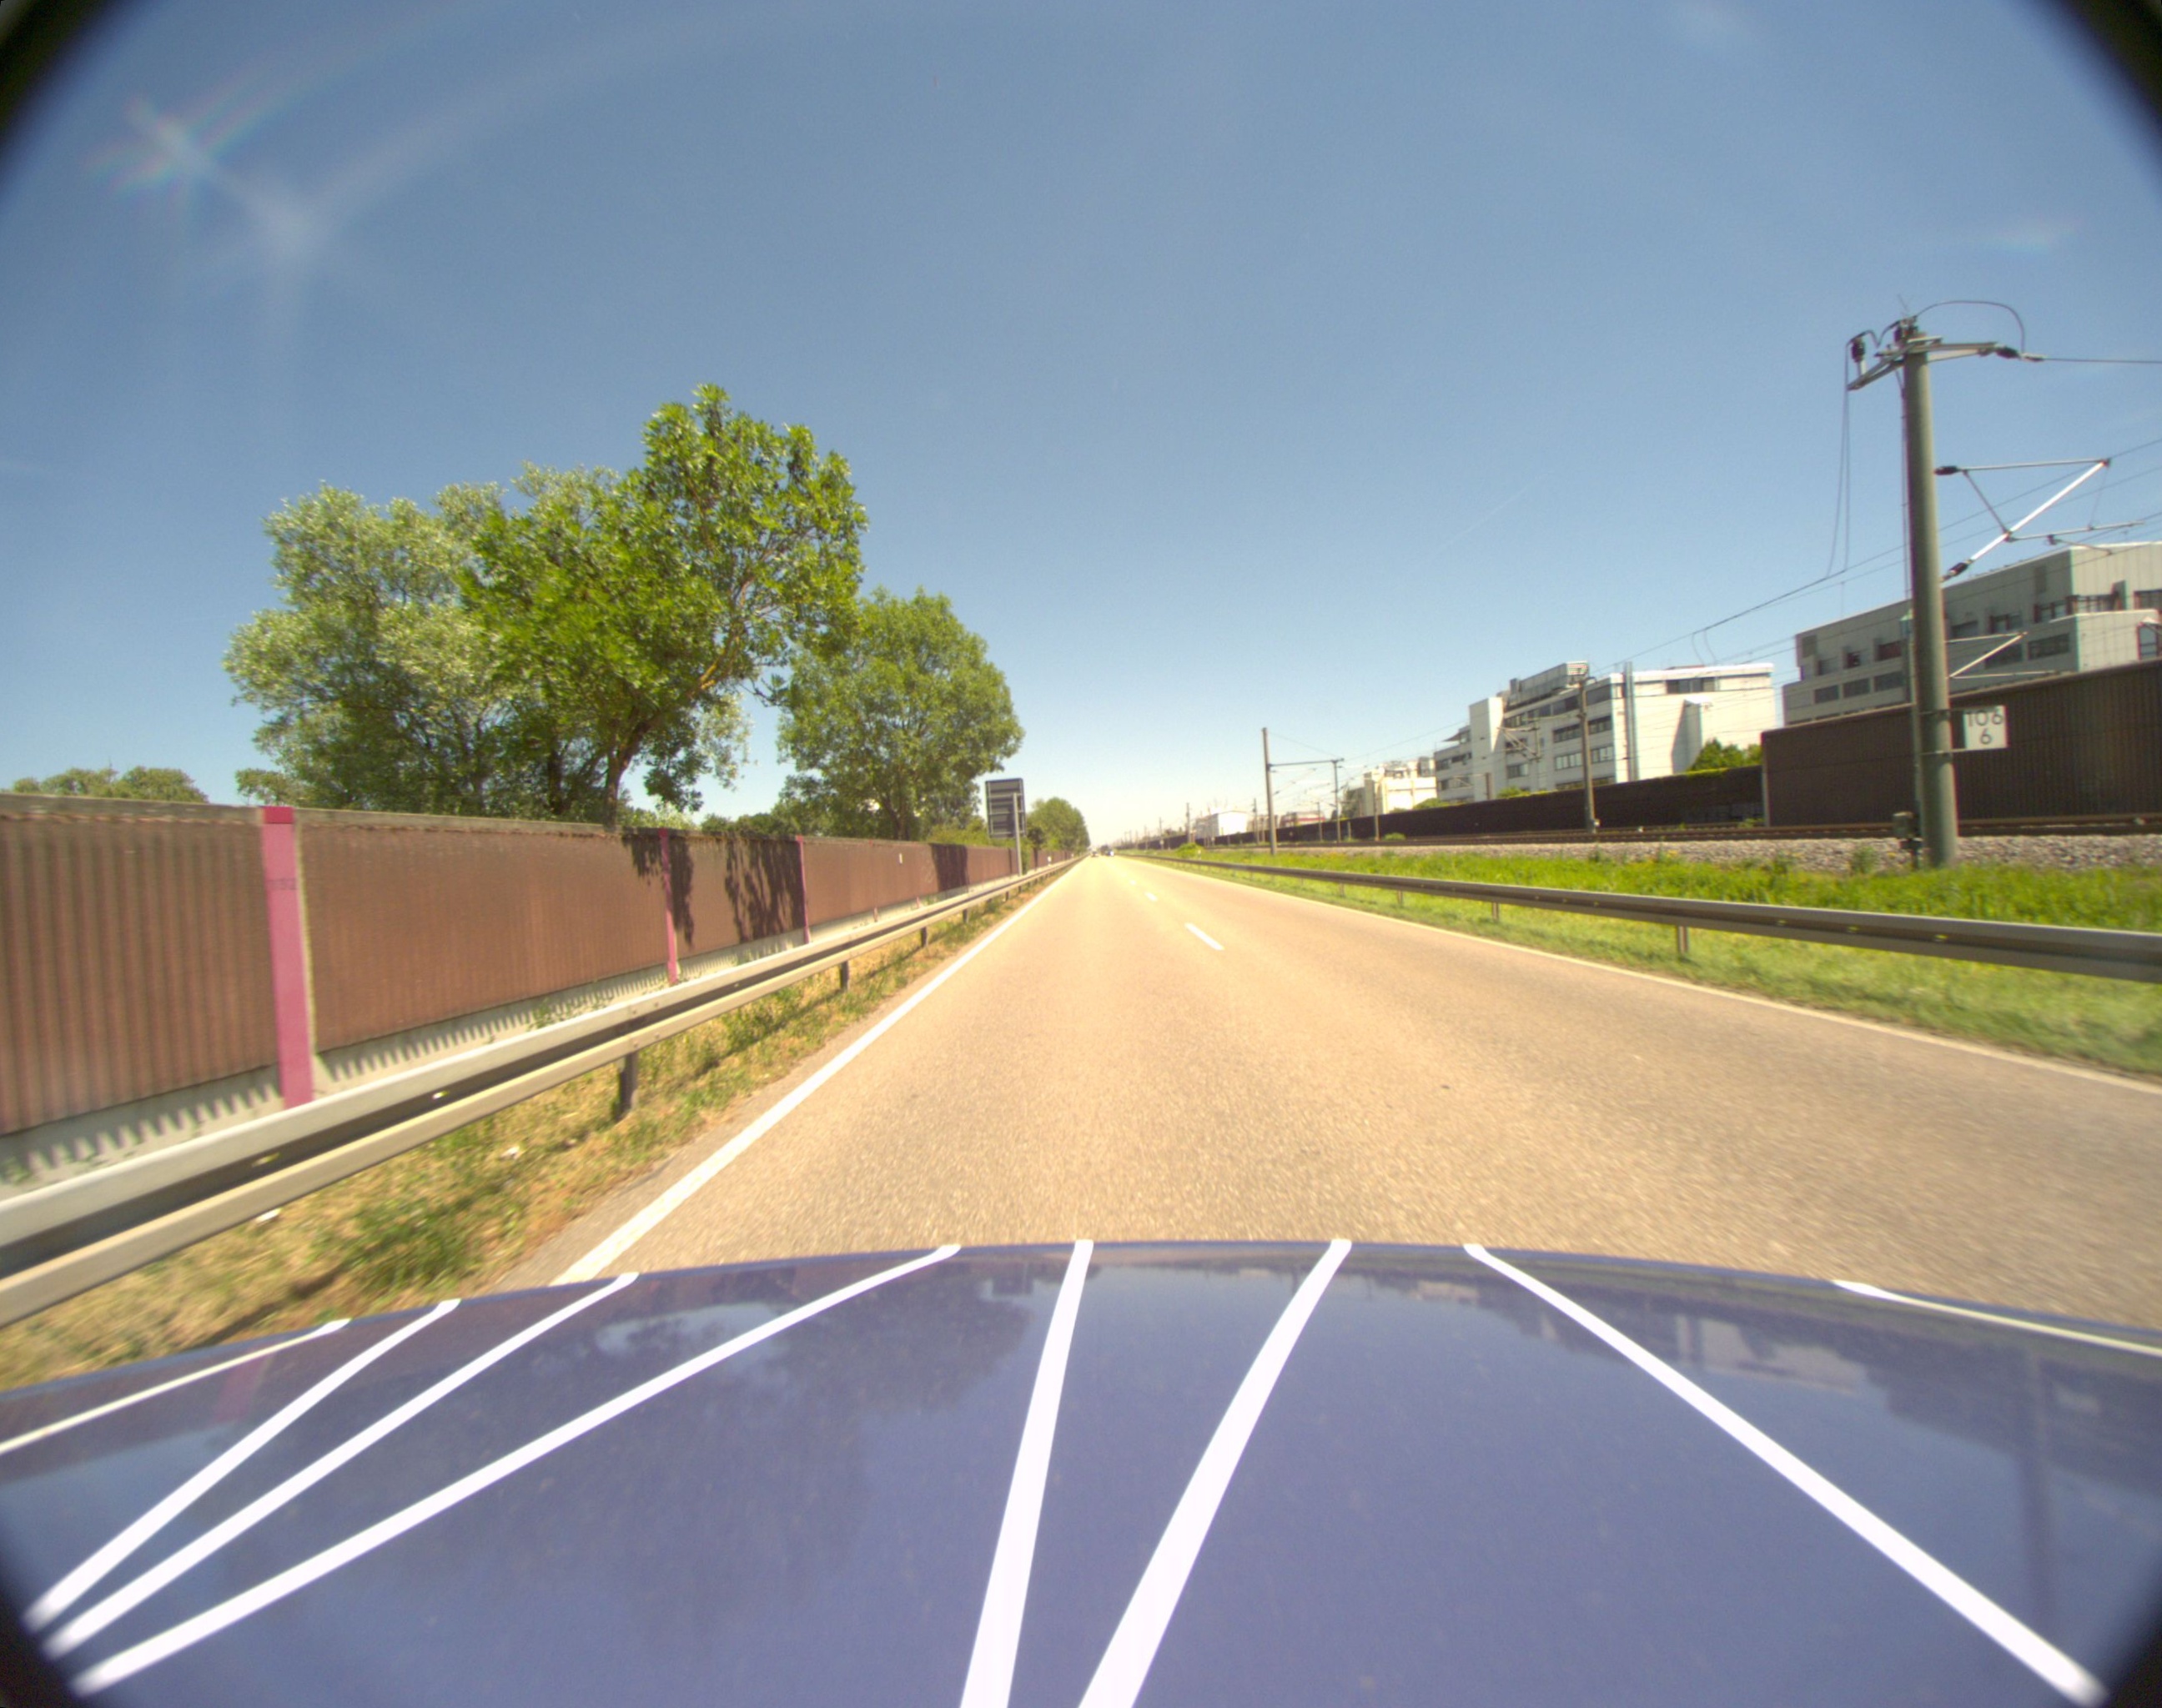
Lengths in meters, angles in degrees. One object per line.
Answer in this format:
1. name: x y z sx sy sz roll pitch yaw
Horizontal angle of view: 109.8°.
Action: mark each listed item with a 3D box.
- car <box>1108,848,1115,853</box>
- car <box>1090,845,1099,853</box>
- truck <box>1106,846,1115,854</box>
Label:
1. car: 8.426 -0.952 207.097 1.803 1.455 4.000 -3 1 2
2. car: 3.527 -1.253 192.468 1.998 2.002 4.001 -3 1 4
3. truck: 9.193 -1.257 236.788 2.389 2.256 6.237 -3 1 2
